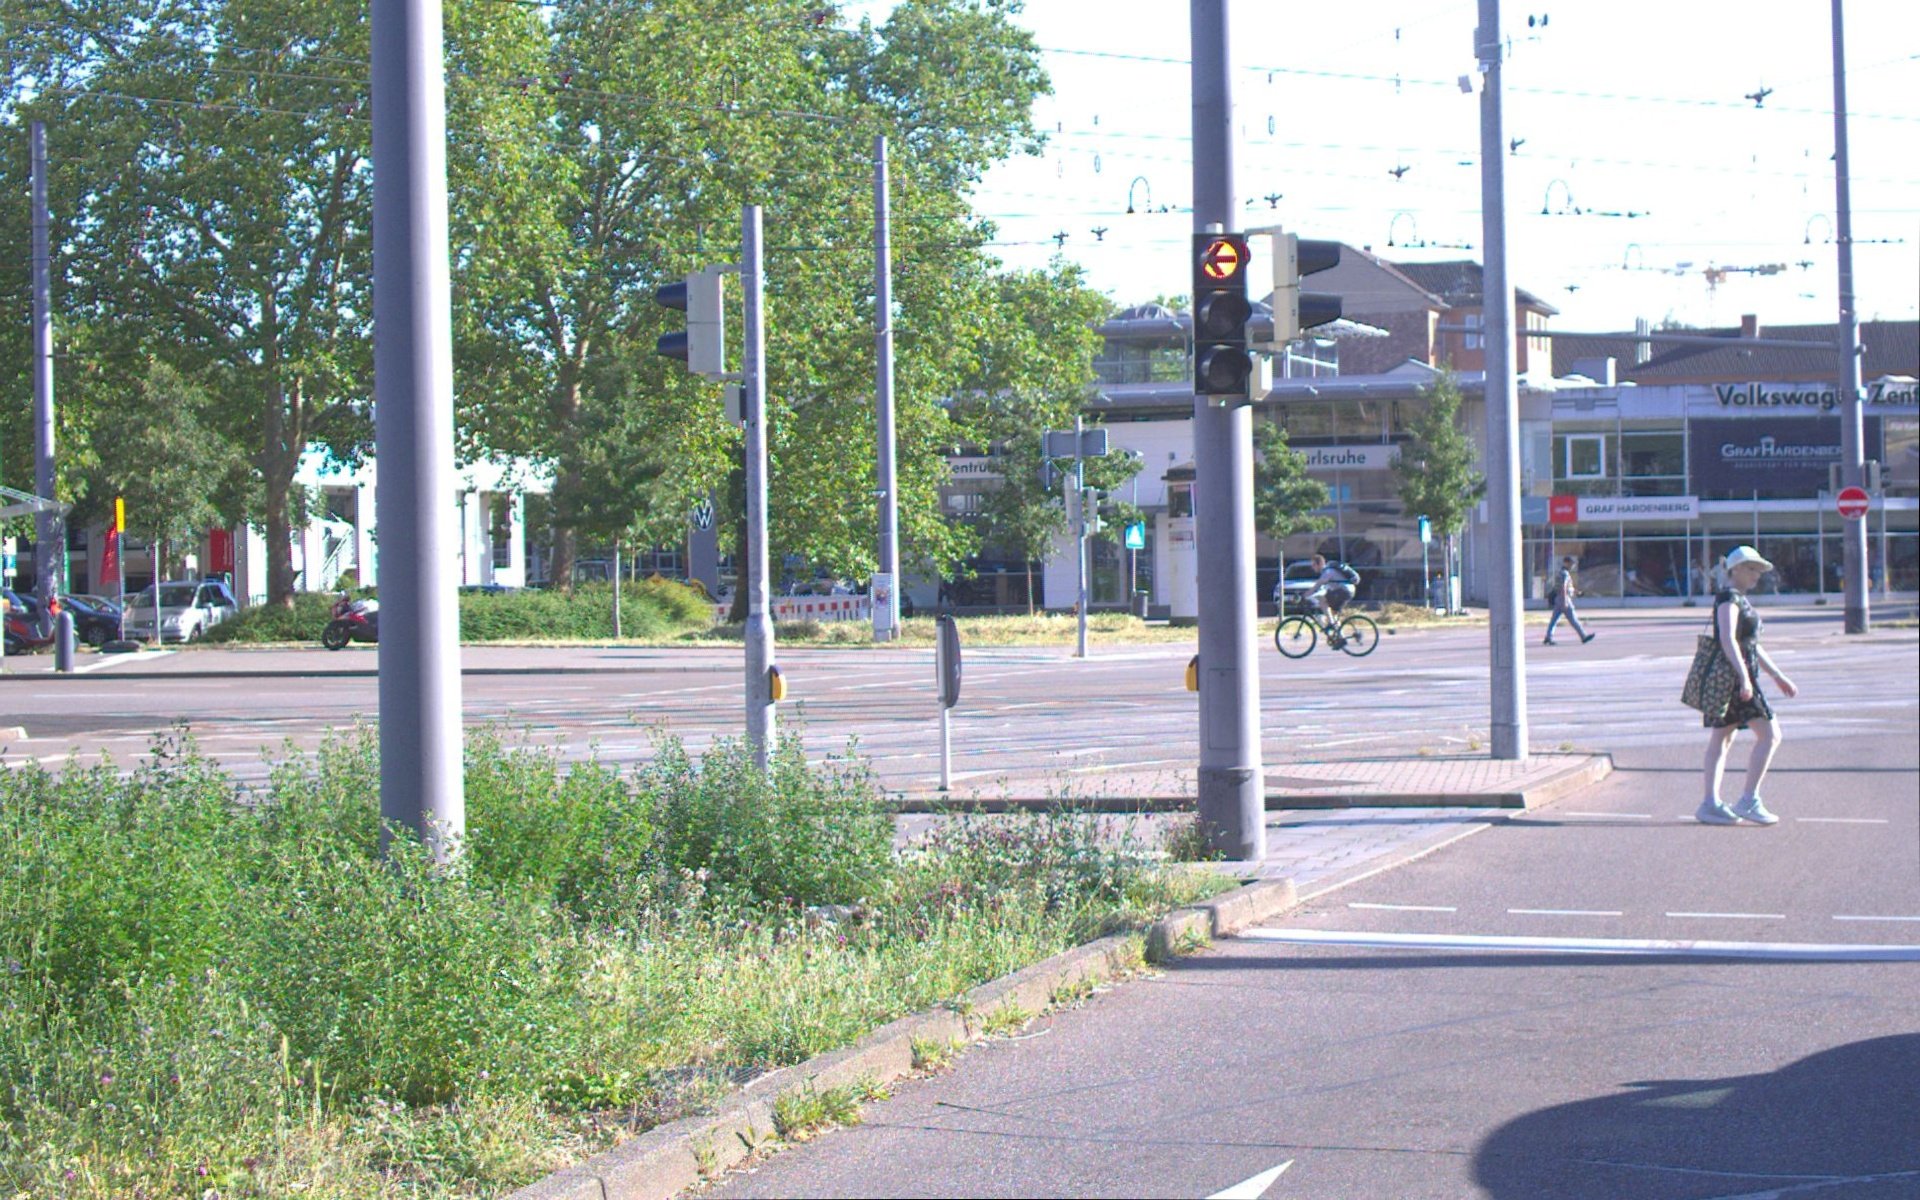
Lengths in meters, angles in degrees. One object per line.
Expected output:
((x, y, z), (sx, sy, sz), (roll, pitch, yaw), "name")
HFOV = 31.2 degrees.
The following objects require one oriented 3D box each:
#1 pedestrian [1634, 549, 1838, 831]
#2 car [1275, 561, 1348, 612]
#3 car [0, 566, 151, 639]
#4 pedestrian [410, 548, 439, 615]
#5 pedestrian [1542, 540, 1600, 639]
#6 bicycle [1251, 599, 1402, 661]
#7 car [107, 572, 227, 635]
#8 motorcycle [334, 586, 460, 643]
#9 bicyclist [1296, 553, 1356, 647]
((4.523, 0.511, 20.096), (1.093, 1.601, 0.699), (0, 2, 7), "pedestrian")
((11.461, -0.454, 111.857), (1.994, 1.529, 3.999), (0, 2, 11), "car")
((-24.350, 0.051, 94.377), (3.986, 1.851, 1.854), (-1, 2, -18), "car")
((-16.143, -0.571, 103.682), (0.589, 2.007, 0.710), (-1, 0, 17), "pedestrian")
((11.411, -0.199, 64.199), (0.990, 1.810, 0.919), (0, 2, 15), "pedestrian")
((6.151, 0.495, 57.767), (2.438, 1.000, 0.963), (-1, 0, 2), "bicycle")
((-18.659, 0.066, 81.038), (1.847, 1.447, 4.000), (0, 1, 1), "car")
((-10.840, 0.280, 66.230), (2.285, 1.050, 0.687), (0, 2, 4), "motorcycle")
((6.146, 0.002, 57.760), (0.923, 1.554, 0.963), (-1, 0, 2), "bicyclist")
